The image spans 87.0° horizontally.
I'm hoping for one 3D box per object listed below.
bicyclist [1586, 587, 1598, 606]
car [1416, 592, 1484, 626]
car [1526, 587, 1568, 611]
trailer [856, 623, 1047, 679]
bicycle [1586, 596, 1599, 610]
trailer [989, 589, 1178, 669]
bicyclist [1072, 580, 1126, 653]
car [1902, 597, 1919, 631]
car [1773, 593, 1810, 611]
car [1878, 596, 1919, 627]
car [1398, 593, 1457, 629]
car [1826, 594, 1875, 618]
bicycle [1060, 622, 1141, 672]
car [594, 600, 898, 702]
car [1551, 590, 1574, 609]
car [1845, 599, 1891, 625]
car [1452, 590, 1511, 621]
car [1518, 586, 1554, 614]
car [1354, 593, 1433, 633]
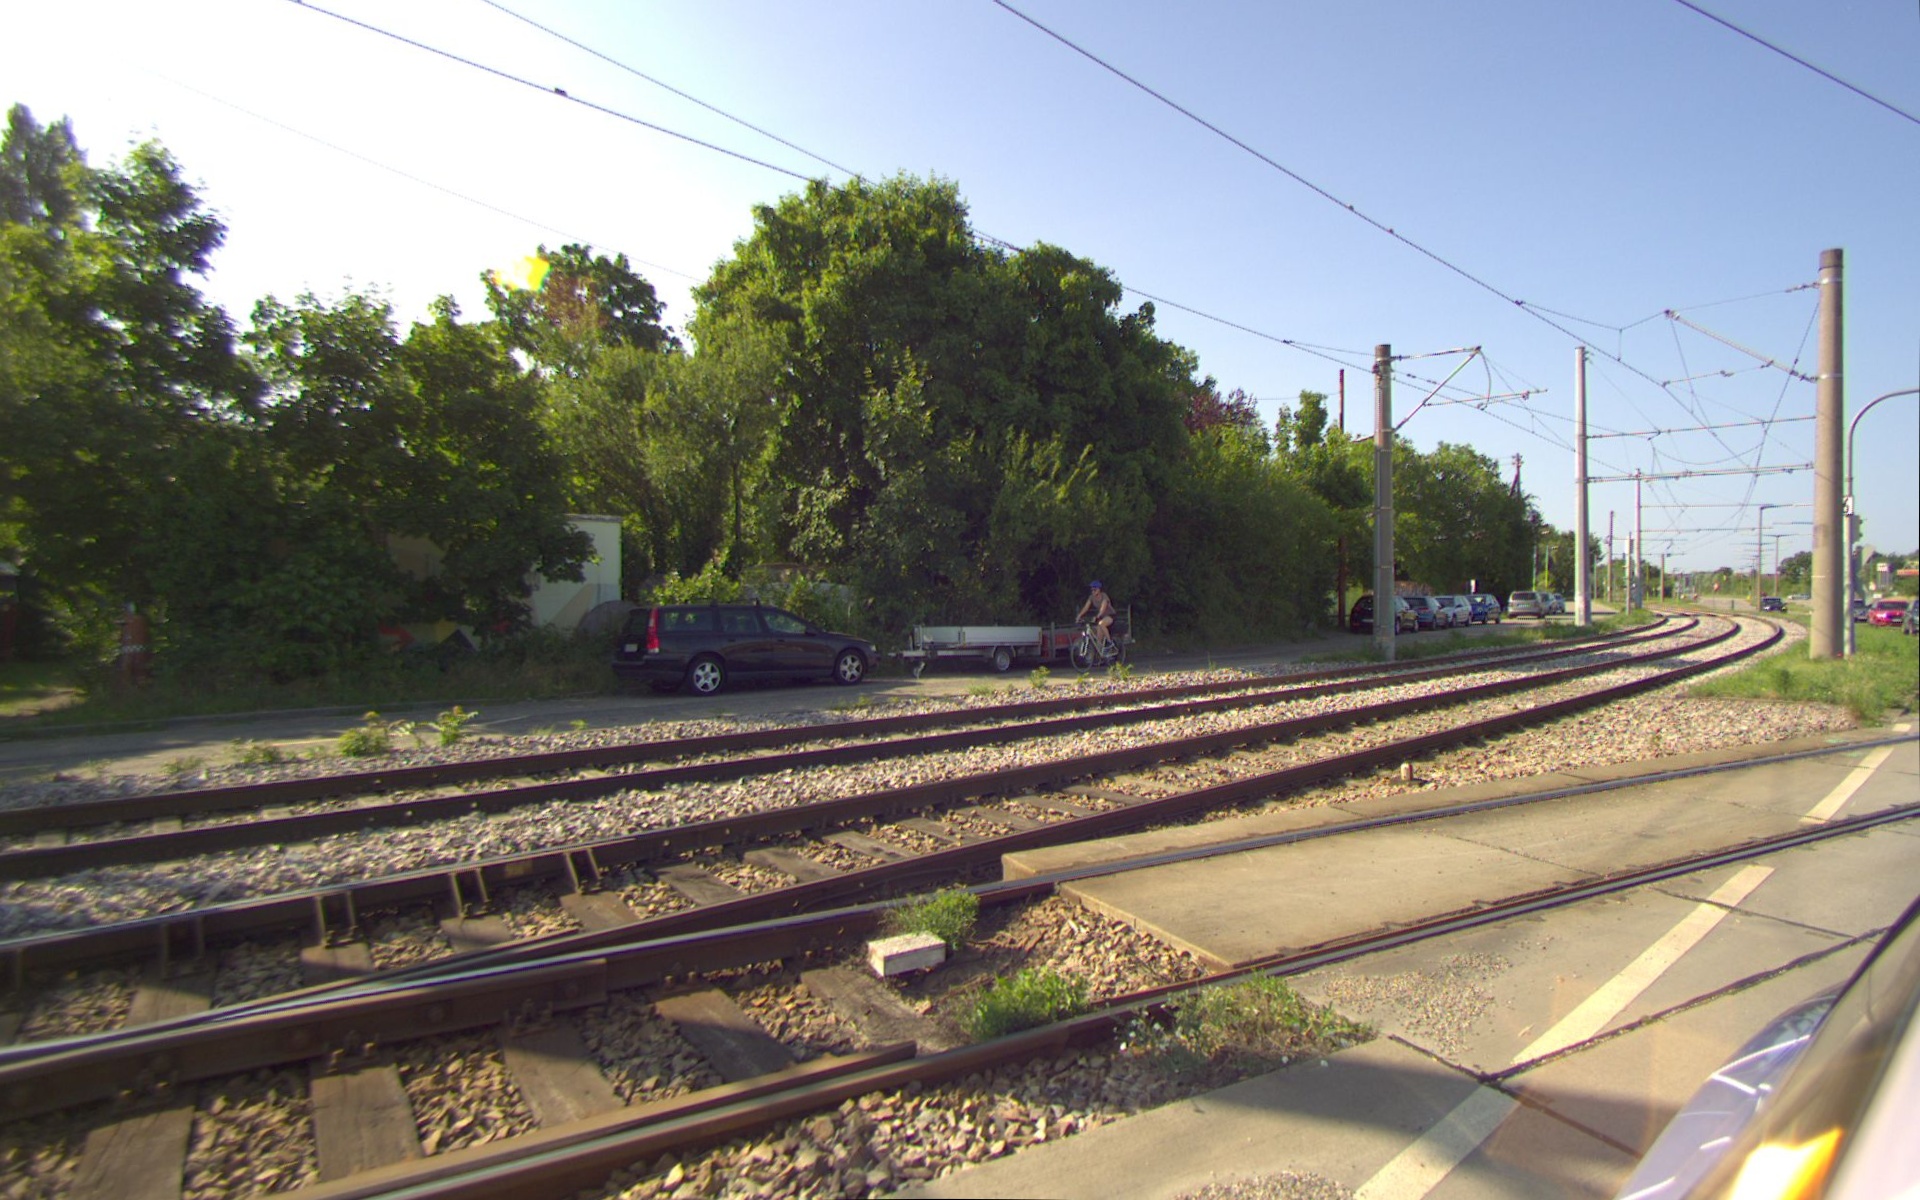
[{"bbox_3d":[43.139,-0.238,69.040,0.637,1.249,0.781,-2,-1,35],"label":"bicyclist"},{"bbox_3d":[22.561,0.389,46.507,1.708,1.484,4.324,0,0,41],"label":"car"},{"bbox_3d":[40.780,-0.091,70.251,1.904,1.610,4.660,0,0,39],"label":"car"},{"bbox_3d":[-0.116,1.018,20.574,3.665,0.951,1.733,-1,-3,-42],"label":"trailer"},{"bbox_3d":[43.161,0.192,69.062,0.640,0.921,1.791,-2,-1,34],"label":"bicycle"},{"bbox_3d":[2.893,0.634,23.170,4.188,1.617,2.028,-1,-2,-43],"label":"trailer"},{"bbox_3d":[2.805,0.324,20.405,0.946,1.440,0.629,0,-1,-44],"label":"bicyclist"},{"bbox_3d":[41.874,0.555,43.340,1.839,1.373,4.096,-3,-2,38],"label":"car"},{"bbox_3d":[72.273,0.191,88.019,1.823,1.532,4.107,-2,-1,31],"label":"car"},{"bbox_3d":[51.798,0.597,55.441,1.838,1.617,3.688,-3,-2,37],"label":"car"},{"bbox_3d":[19.692,0.430,42.546,1.480,1.419,4.096,0,0,36],"label":"car"},{"bbox_3d":[62.844,0.433,71.501,1.955,1.639,4.257,-1,0,33],"label":"car"},{"bbox_3d":[2.860,0.931,20.442,1.813,0.921,0.643,-1,-1,-44],"label":"bicycle"},{"bbox_3d":[-3.491,0.792,17.129,4.794,1.475,1.701,0,-3,-40],"label":"car"},{"bbox_3d":[47.658,-0.082,80.022,1.527,1.466,4.083,0,0,32],"label":"car"},{"bbox_3d":[57.305,0.757,63.935,1.598,1.532,4.214,-3,-1,35],"label":"car"},{"bbox_3d":[26.331,0.263,51.050,1.677,1.448,3.850,-3,-2,43],"label":"car"},{"bbox_3d":[34.129,-0.003,59.919,1.517,1.630,4.429,0,0,34],"label":"car"},{"bbox_3d":[16.652,0.461,38.776,1.619,1.428,4.458,-2,-1,39],"label":"car"}]
